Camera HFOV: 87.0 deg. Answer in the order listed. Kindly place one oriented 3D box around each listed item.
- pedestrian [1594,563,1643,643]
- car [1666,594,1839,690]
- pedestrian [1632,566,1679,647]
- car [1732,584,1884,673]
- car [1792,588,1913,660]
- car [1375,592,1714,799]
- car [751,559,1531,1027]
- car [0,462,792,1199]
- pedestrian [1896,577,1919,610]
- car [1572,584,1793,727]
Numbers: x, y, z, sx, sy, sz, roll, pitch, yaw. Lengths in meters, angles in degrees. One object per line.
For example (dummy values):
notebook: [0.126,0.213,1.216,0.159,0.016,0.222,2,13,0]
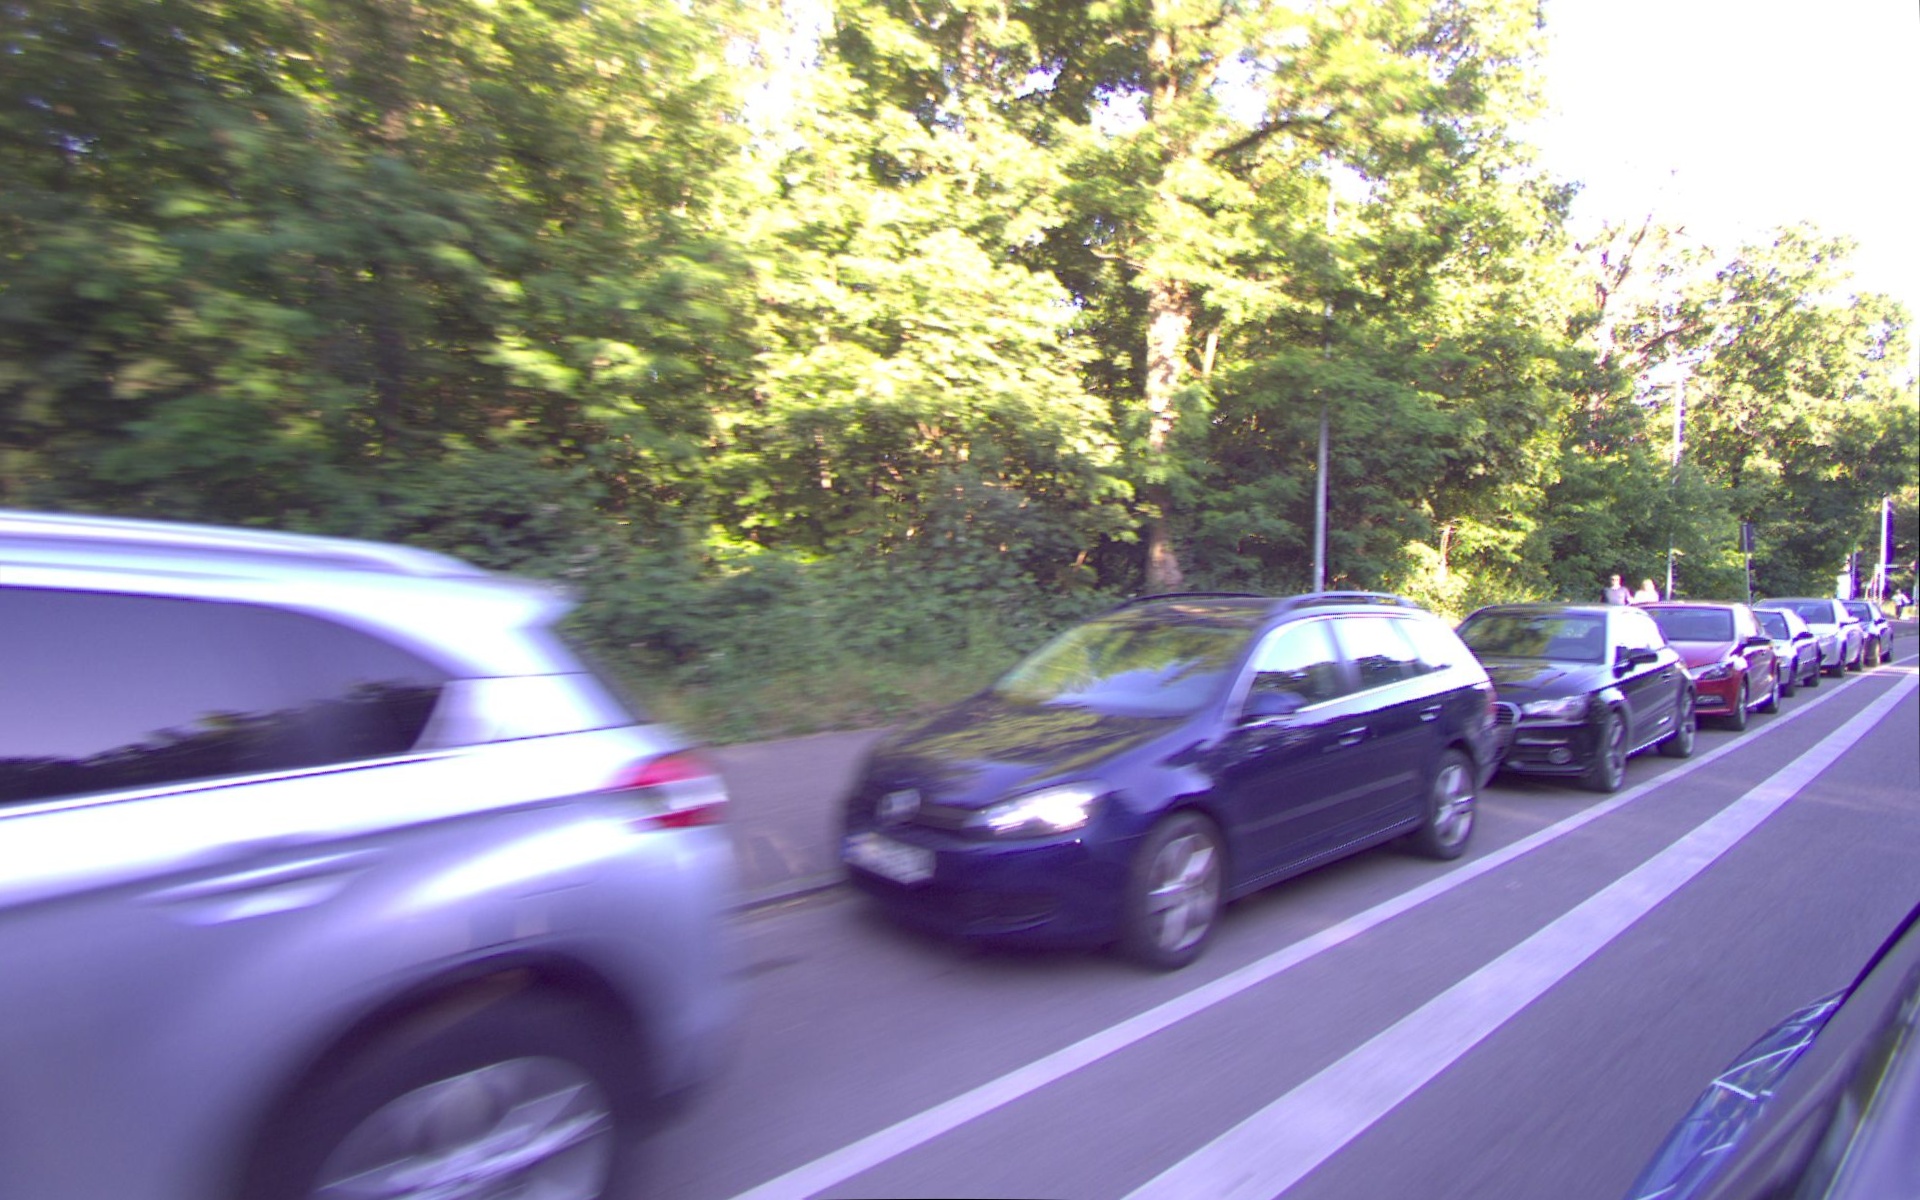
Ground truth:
pedestrian: [15.532,0.055,23.867,0.937,1.820,0.675,0,3,-44]
car: [12.923,0.594,16.430,3.775,1.336,1.630,-1,1,-42]
pedestrian: [16.131,0.130,23.466,0.777,1.820,0.675,0,3,-44]
car: [16.977,0.483,20.188,4.285,1.543,1.740,-1,2,-42]
car: [20.430,0.476,23.109,3.952,1.470,1.659,-1,2,-43]
car: [5.258,0.648,8.904,3.735,1.419,1.596,-1,1,-43]
car: [1.278,0.622,5.484,4.426,1.538,1.810,-1,0,-41]
car: [-2.471,0.587,1.716,3.957,1.614,1.803,-1,2,-40]
pedestrian: [52.163,-0.362,55.688,0.721,1.821,0.809,0,2,-40]
car: [8.947,0.567,12.425,3.664,1.487,1.617,-1,0,-45]
